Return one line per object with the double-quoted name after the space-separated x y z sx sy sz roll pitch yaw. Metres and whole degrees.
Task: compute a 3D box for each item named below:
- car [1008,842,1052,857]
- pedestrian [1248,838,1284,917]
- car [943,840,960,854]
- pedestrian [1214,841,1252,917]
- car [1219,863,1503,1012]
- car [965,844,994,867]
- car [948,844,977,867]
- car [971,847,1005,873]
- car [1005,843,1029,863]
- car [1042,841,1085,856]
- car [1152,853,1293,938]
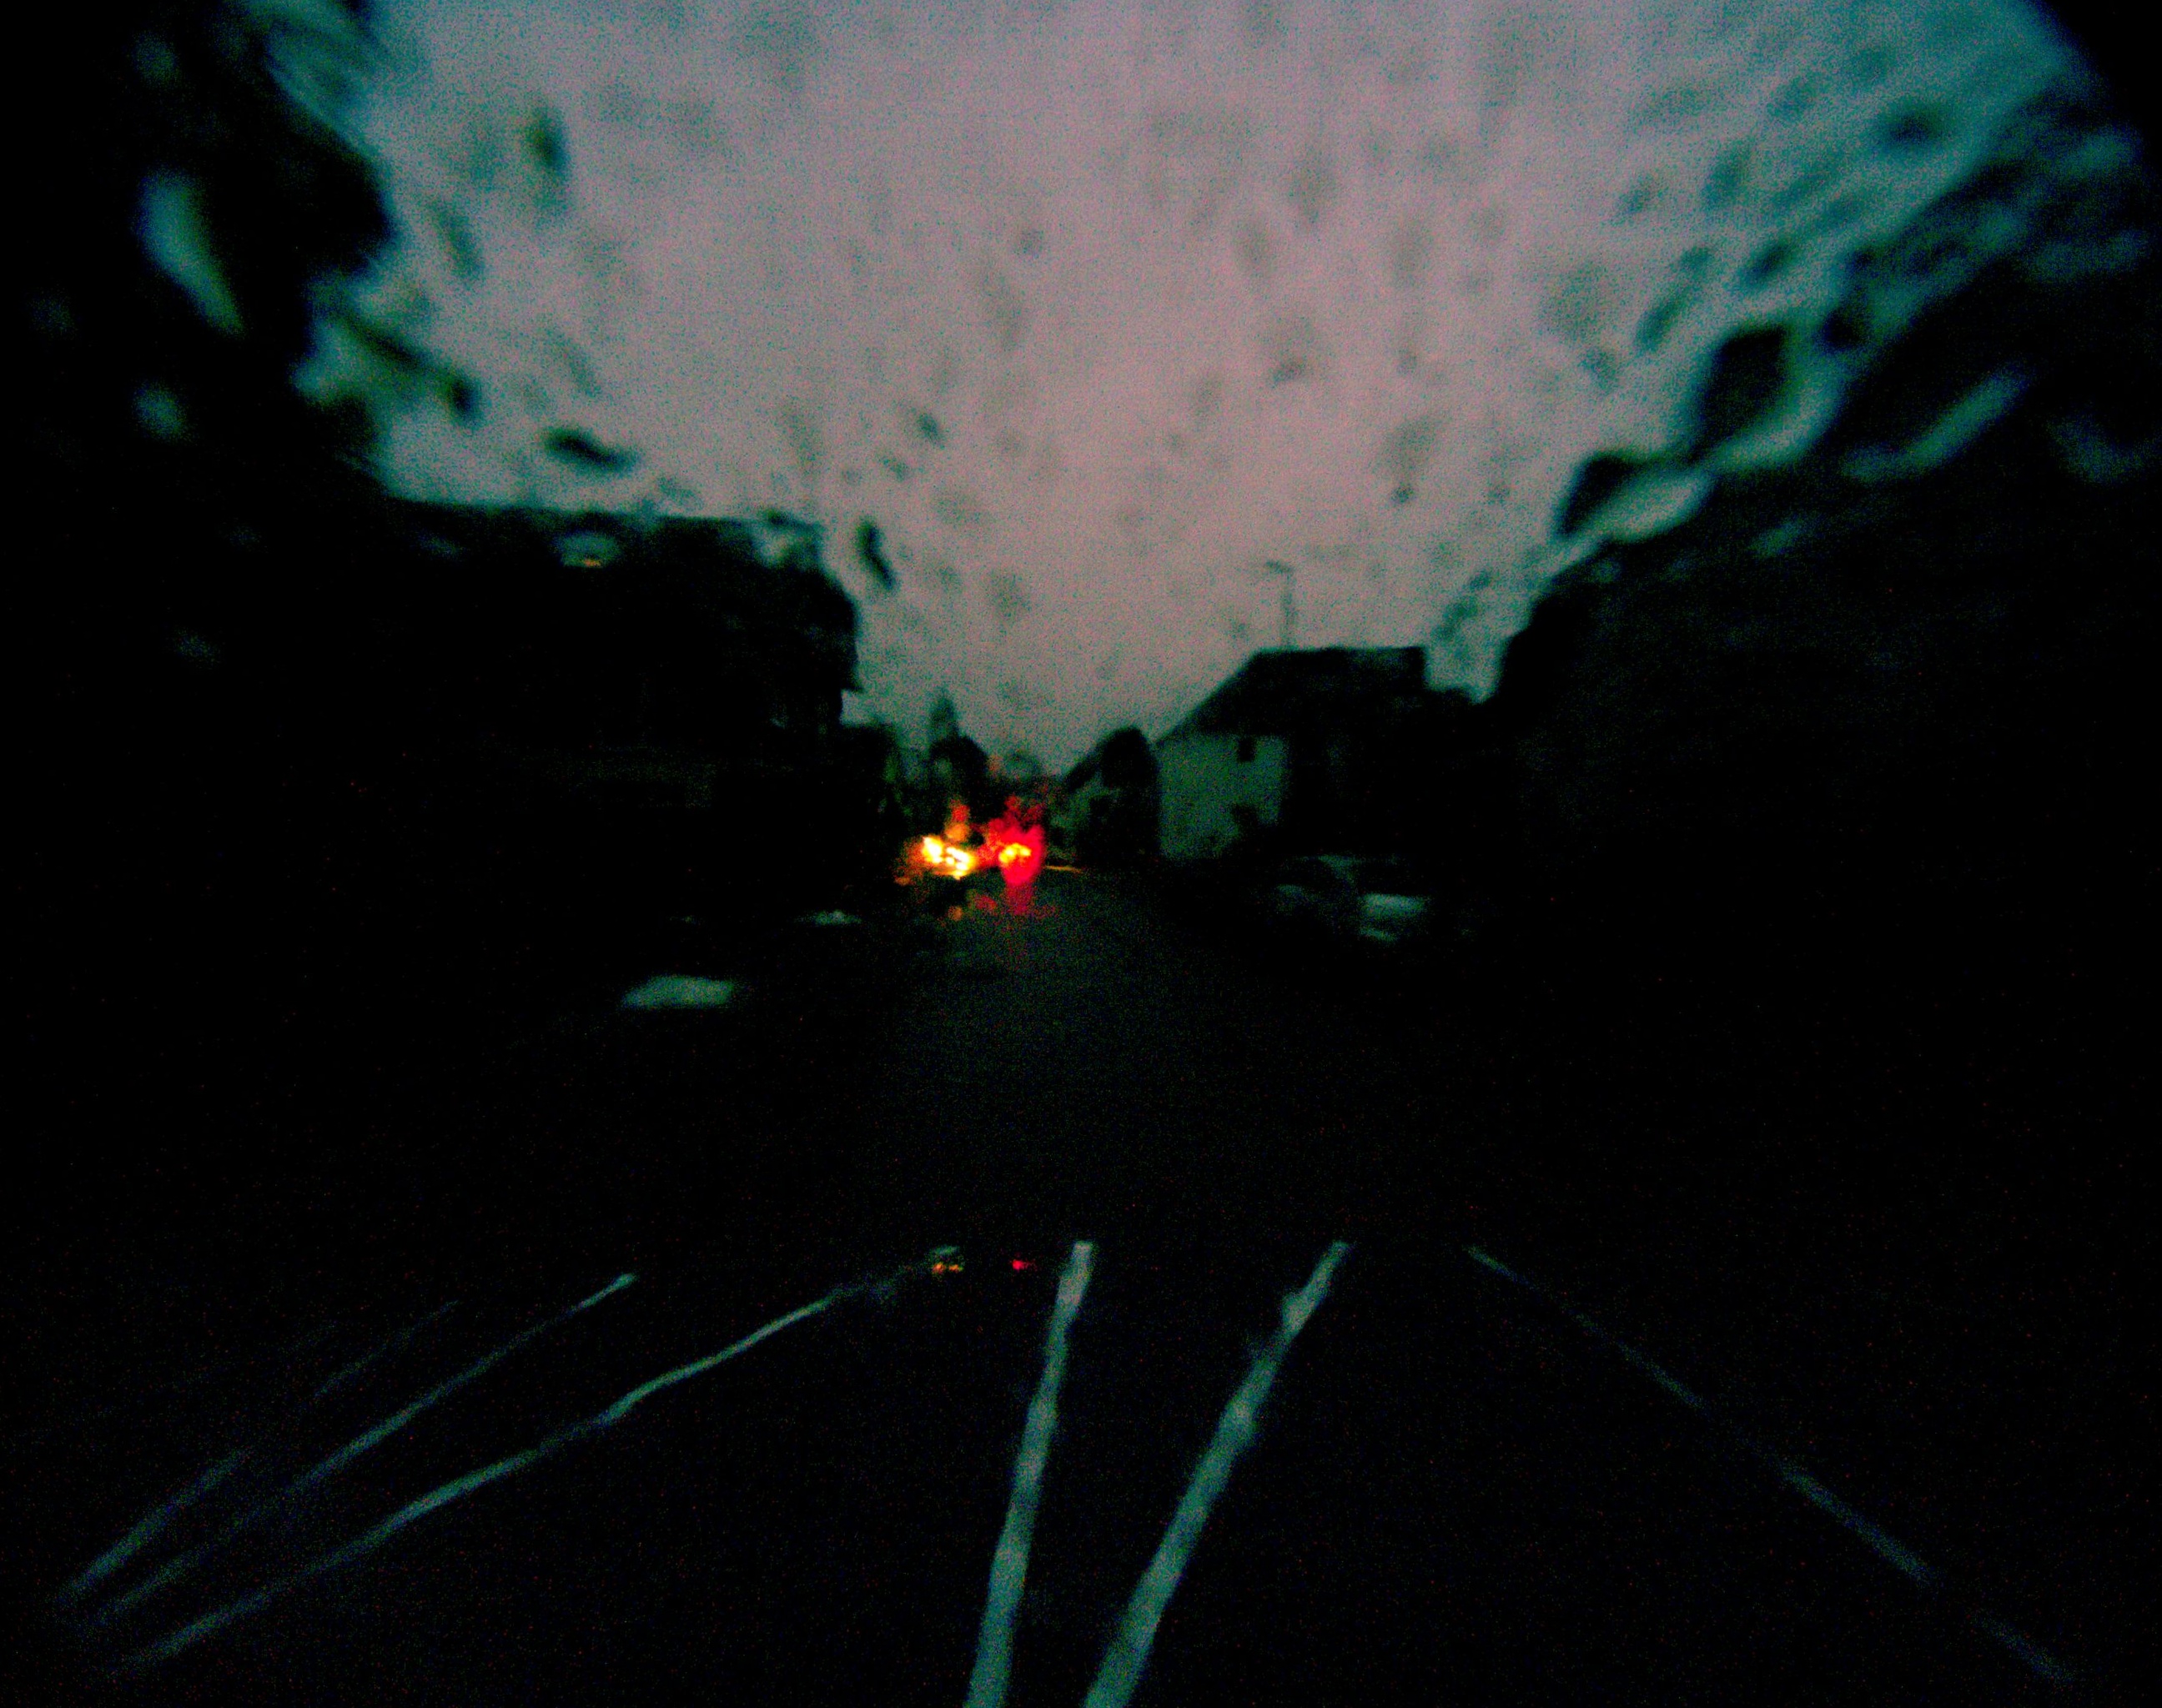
-5.653 -0.505 84.149 4.485 1.570 1.996 -1 2 -20 "car"
4.449 0.546 18.317 0.600 1.859 0.811 -1 2 -7 "pedestrian"
-15.323 -0.890 89.853 1.766 1.489 3.995 -2 2 -11 "car"
3.677 0.591 18.423 0.708 1.769 0.811 -1 2 -6 "pedestrian"
3.242 0.861 9.794 1.754 1.381 4.143 -1 1 -7 "car"
-7.290 0.065 54.085 1.796 1.431 4.617 -1 2 -10 "car"
-11.127 0.096 71.378 2.002 2.002 3.992 -1 2 -19 "car"
-5.877 0.339 47.663 1.732 1.424 4.791 -1 2 -11 "car"
-5.457 -0.104 64.624 1.763 1.572 3.995 -1 2 -8 "car"
-1.779 -0.606 76.319 2.004 1.417 4.224 -2 3 -43 "car"
2.706 0.738 15.507 1.828 1.432 4.065 -1 1 -5 "car"
